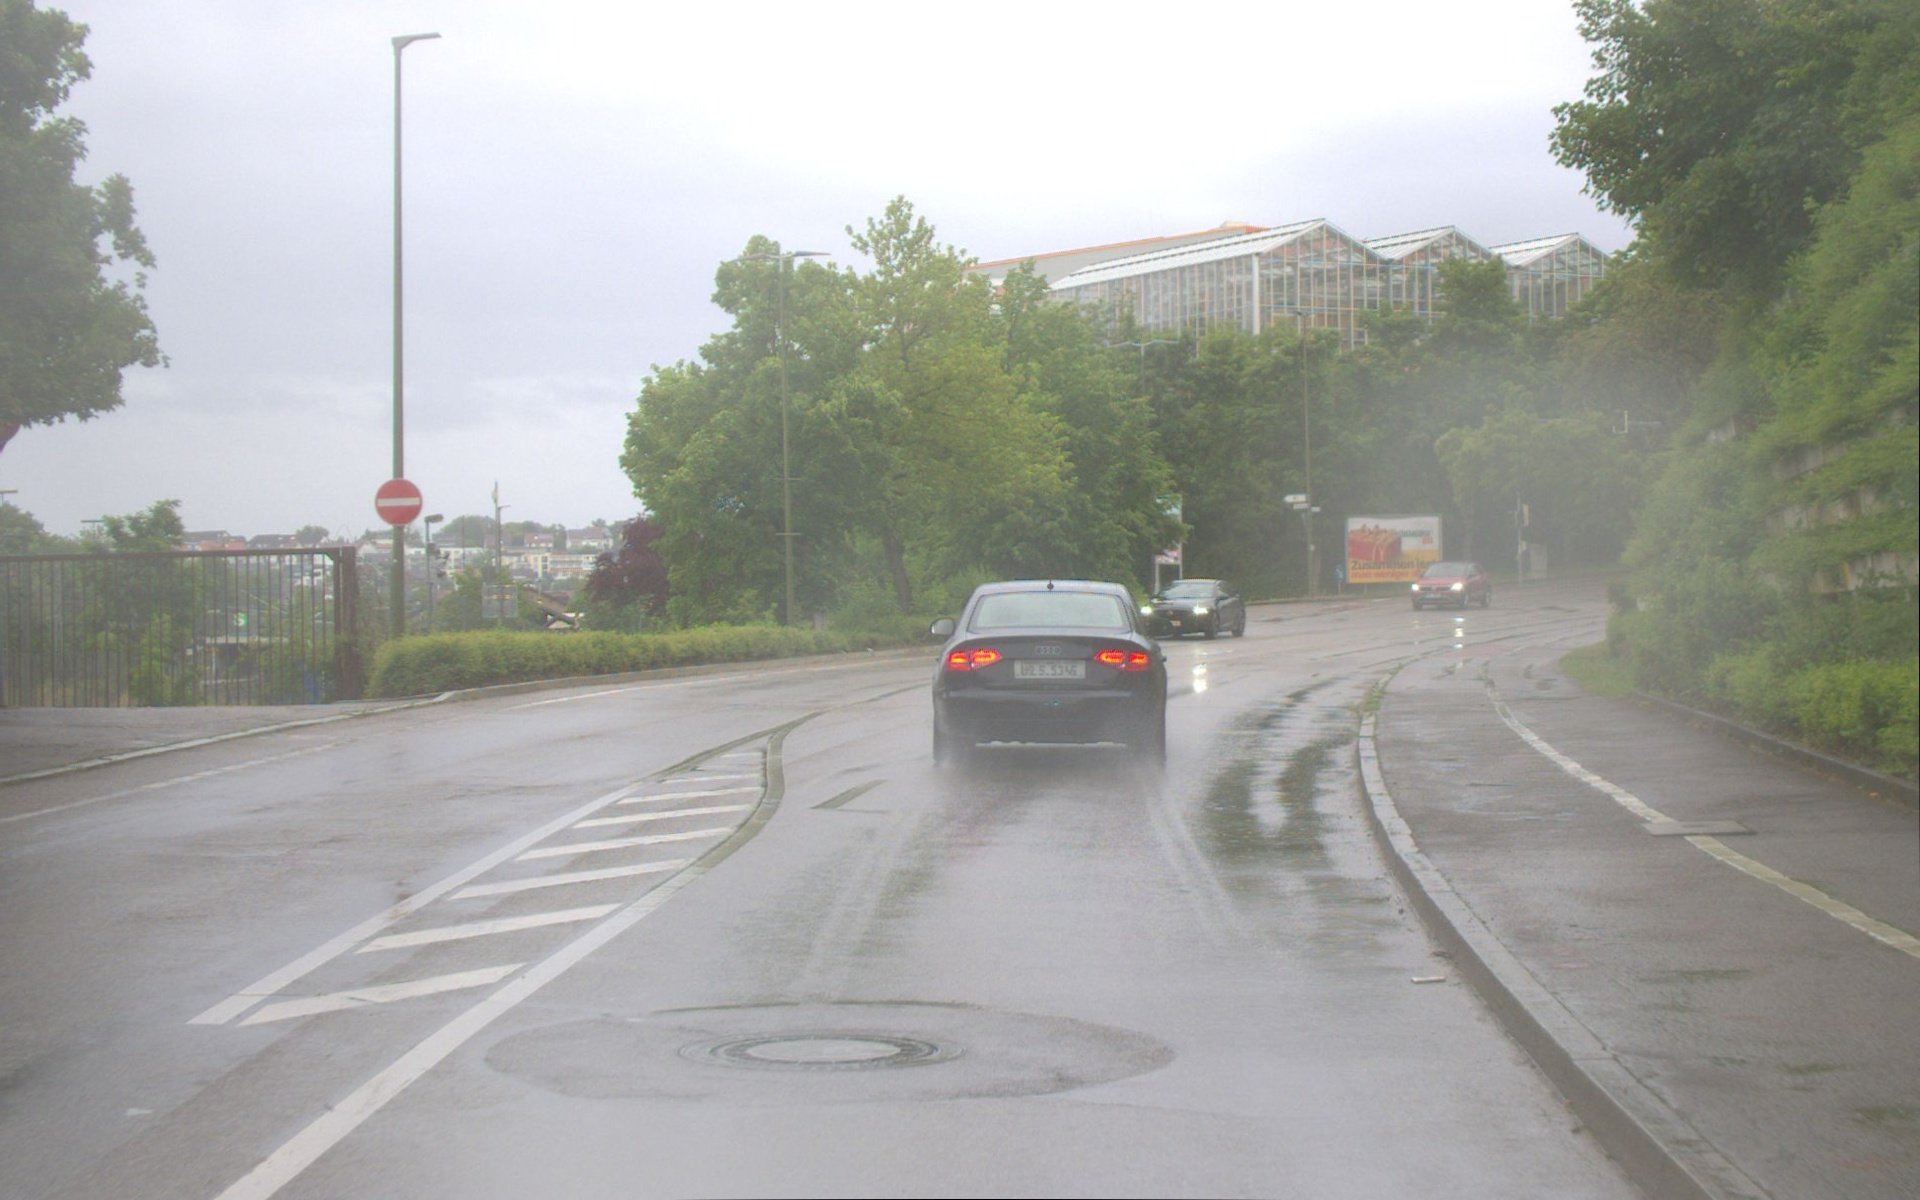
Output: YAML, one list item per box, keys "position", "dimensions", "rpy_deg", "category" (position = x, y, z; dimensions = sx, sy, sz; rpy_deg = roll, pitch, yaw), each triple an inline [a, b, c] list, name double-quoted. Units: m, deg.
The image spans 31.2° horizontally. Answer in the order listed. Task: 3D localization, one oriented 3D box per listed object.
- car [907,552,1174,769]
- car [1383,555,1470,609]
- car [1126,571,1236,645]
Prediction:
- position: [0.571, 0.408, 27.002]
  dimensions: [1.892, 1.487, 4.208]
  rpy_deg: [1, 1, 0]
  category: "car"
- position: [15.407, -0.606, 113.405]
  dimensions: [1.995, 1.735, 3.996]
  rpy_deg: [0, 1, 21]
  category: "car"
- position: [5.539, 0.184, 85.755]
  dimensions: [1.995, 1.735, 3.997]
  rpy_deg: [0, 1, 15]
  category: "car"
